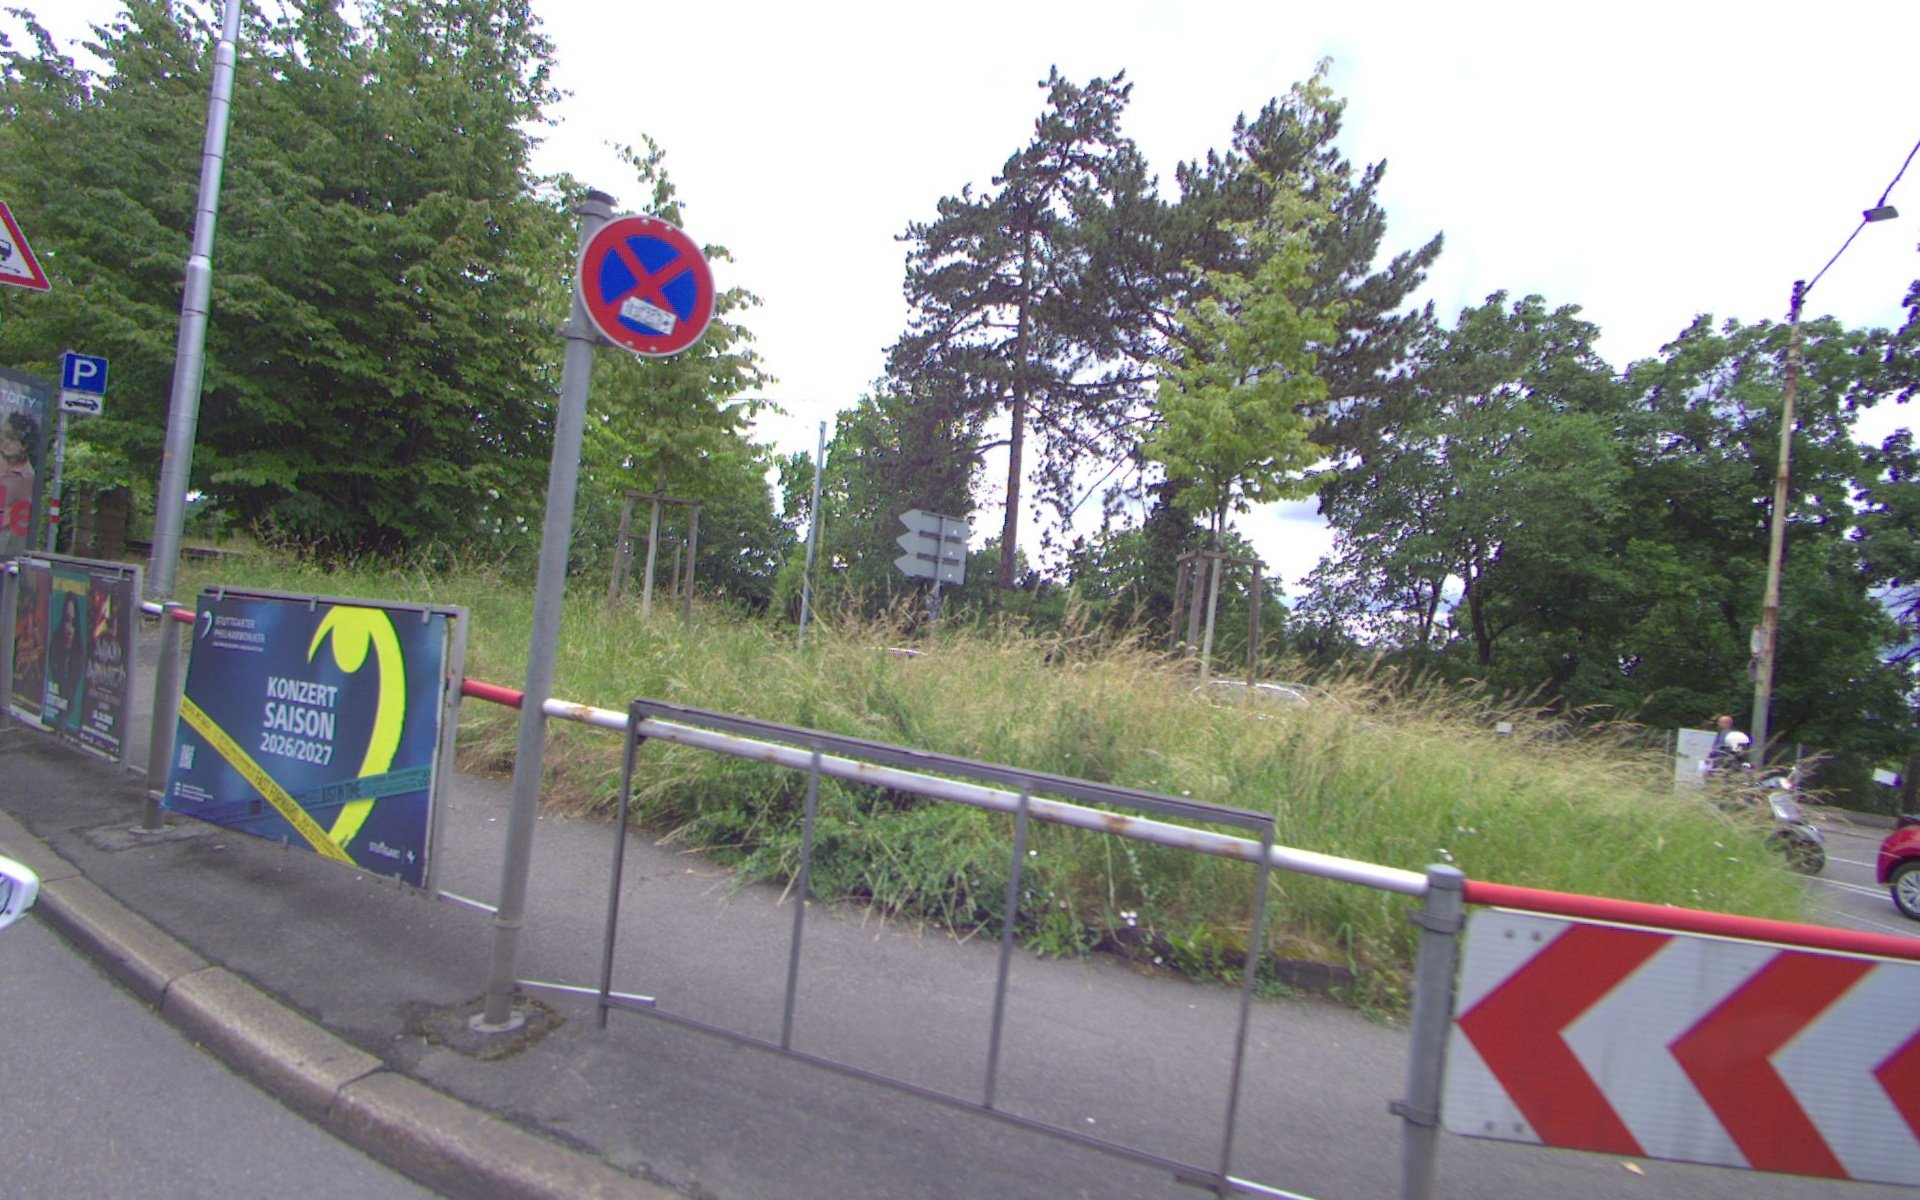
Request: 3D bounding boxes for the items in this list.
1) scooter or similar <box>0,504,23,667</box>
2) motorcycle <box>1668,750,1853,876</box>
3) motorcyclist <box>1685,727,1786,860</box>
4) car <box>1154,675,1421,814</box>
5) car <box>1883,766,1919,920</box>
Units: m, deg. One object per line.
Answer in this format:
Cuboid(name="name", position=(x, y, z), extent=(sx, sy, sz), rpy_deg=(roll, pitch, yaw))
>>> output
Cuboid(name="scooter or similar", position=(-8.475, -0.178, 8.560), extent=(1.465, 1.305, 0.515), rpy_deg=(7, 2, 41))
Cuboid(name="motorcycle", position=(10.467, 2.762, 13.246), extent=(0.715, 1.248, 1.744), rpy_deg=(6, -1, -12))
Cuboid(name="motorcyclist", position=(10.420, 2.581, 13.533), extent=(0.715, 1.624, 0.647), rpy_deg=(6, 0, -13))
Cuboid(name="car", position=(5.724, 2.451, 17.787), extent=(3.943, 1.748, 1.918), rpy_deg=(5, -2, 40))
Cuboid(name="car", position=(10.867, 2.522, 8.923), extent=(1.623, 1.522, 3.697), rpy_deg=(5, -2, -9))
